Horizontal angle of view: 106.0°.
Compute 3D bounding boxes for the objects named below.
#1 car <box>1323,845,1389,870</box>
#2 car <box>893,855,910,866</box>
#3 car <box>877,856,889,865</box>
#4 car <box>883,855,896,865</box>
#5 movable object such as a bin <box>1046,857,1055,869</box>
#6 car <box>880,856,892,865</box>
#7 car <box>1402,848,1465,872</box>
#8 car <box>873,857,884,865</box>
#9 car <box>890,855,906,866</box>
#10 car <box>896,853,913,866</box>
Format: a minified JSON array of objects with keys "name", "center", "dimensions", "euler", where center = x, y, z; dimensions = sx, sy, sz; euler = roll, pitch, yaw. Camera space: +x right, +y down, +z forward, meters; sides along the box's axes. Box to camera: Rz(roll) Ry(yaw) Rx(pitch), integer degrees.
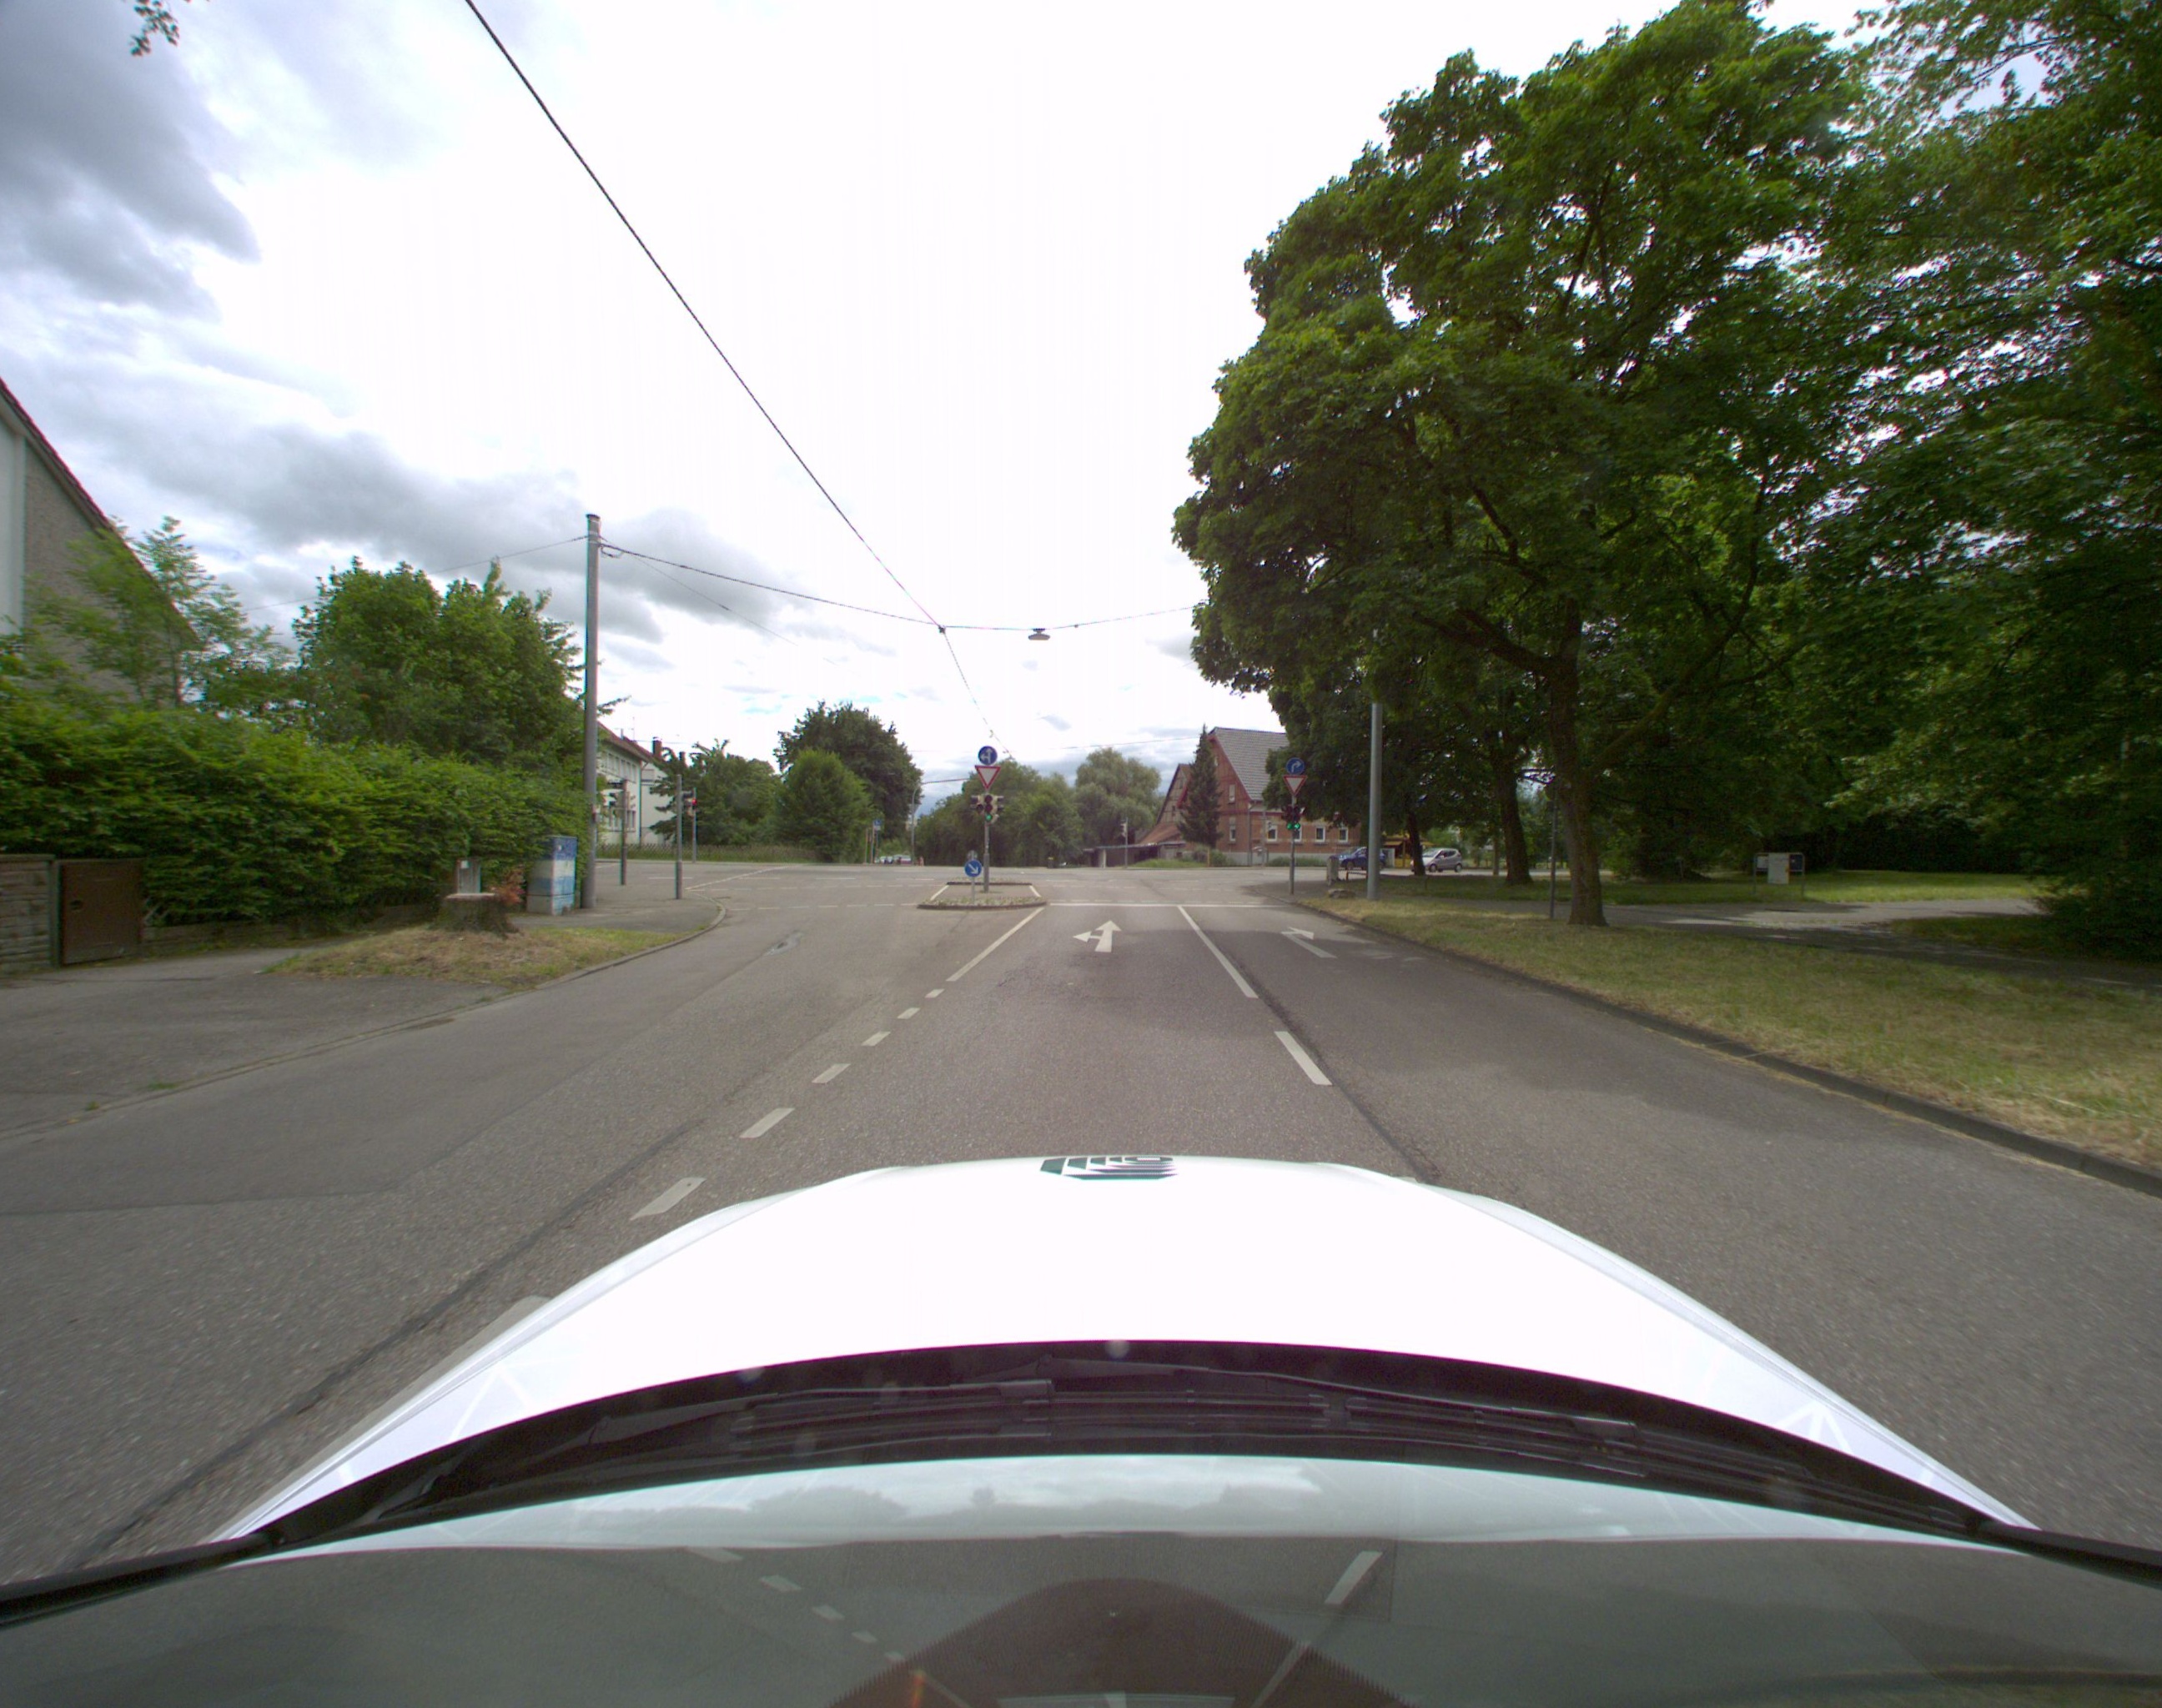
[{"name":"car","center":[18.499,0.204,54.843],"dimensions":[3.854,1.647,1.989],"euler":[0,0,-17]},{"name":"car","center":[-22.463,0.792,101.684],"dimensions":[1.798,1.409,3.978],"euler":[0,0,-16]},{"name":"car","center":[-33.834,1.057,138.988],"dimensions":[1.798,1.409,3.978],"euler":[0,0,-16]},{"name":"car","center":[-28.580,0.872,121.413],"dimensions":[1.798,1.409,3.978],"euler":[0,0,-16]},{"name":"movable object such as a bin","center":[-2.573,0.746,68.648],"dimensions":[0.636,1.001,0.579],"euler":[1,-2,-25]},{"name":"car","center":[-30.650,1.004,127.973],"dimensions":[1.798,1.409,3.978],"euler":[0,0,-16]},{"name":"car","center":[23.215,0.370,53.640],"dimensions":[3.476,1.531,1.985],"euler":[0,0,-23]},{"name":"car","center":[-37.249,1.272,149.789],"dimensions":[1.798,1.409,3.978],"euler":[0,0,-16]},{"name":"car","center":[-24.632,0.902,109.583],"dimensions":[1.798,1.409,3.978],"euler":[0,0,-16]},{"name":"car","center":[-20.719,0.601,95.485],"dimensions":[1.798,1.512,3.978],"euler":[0,0,-16]}]
